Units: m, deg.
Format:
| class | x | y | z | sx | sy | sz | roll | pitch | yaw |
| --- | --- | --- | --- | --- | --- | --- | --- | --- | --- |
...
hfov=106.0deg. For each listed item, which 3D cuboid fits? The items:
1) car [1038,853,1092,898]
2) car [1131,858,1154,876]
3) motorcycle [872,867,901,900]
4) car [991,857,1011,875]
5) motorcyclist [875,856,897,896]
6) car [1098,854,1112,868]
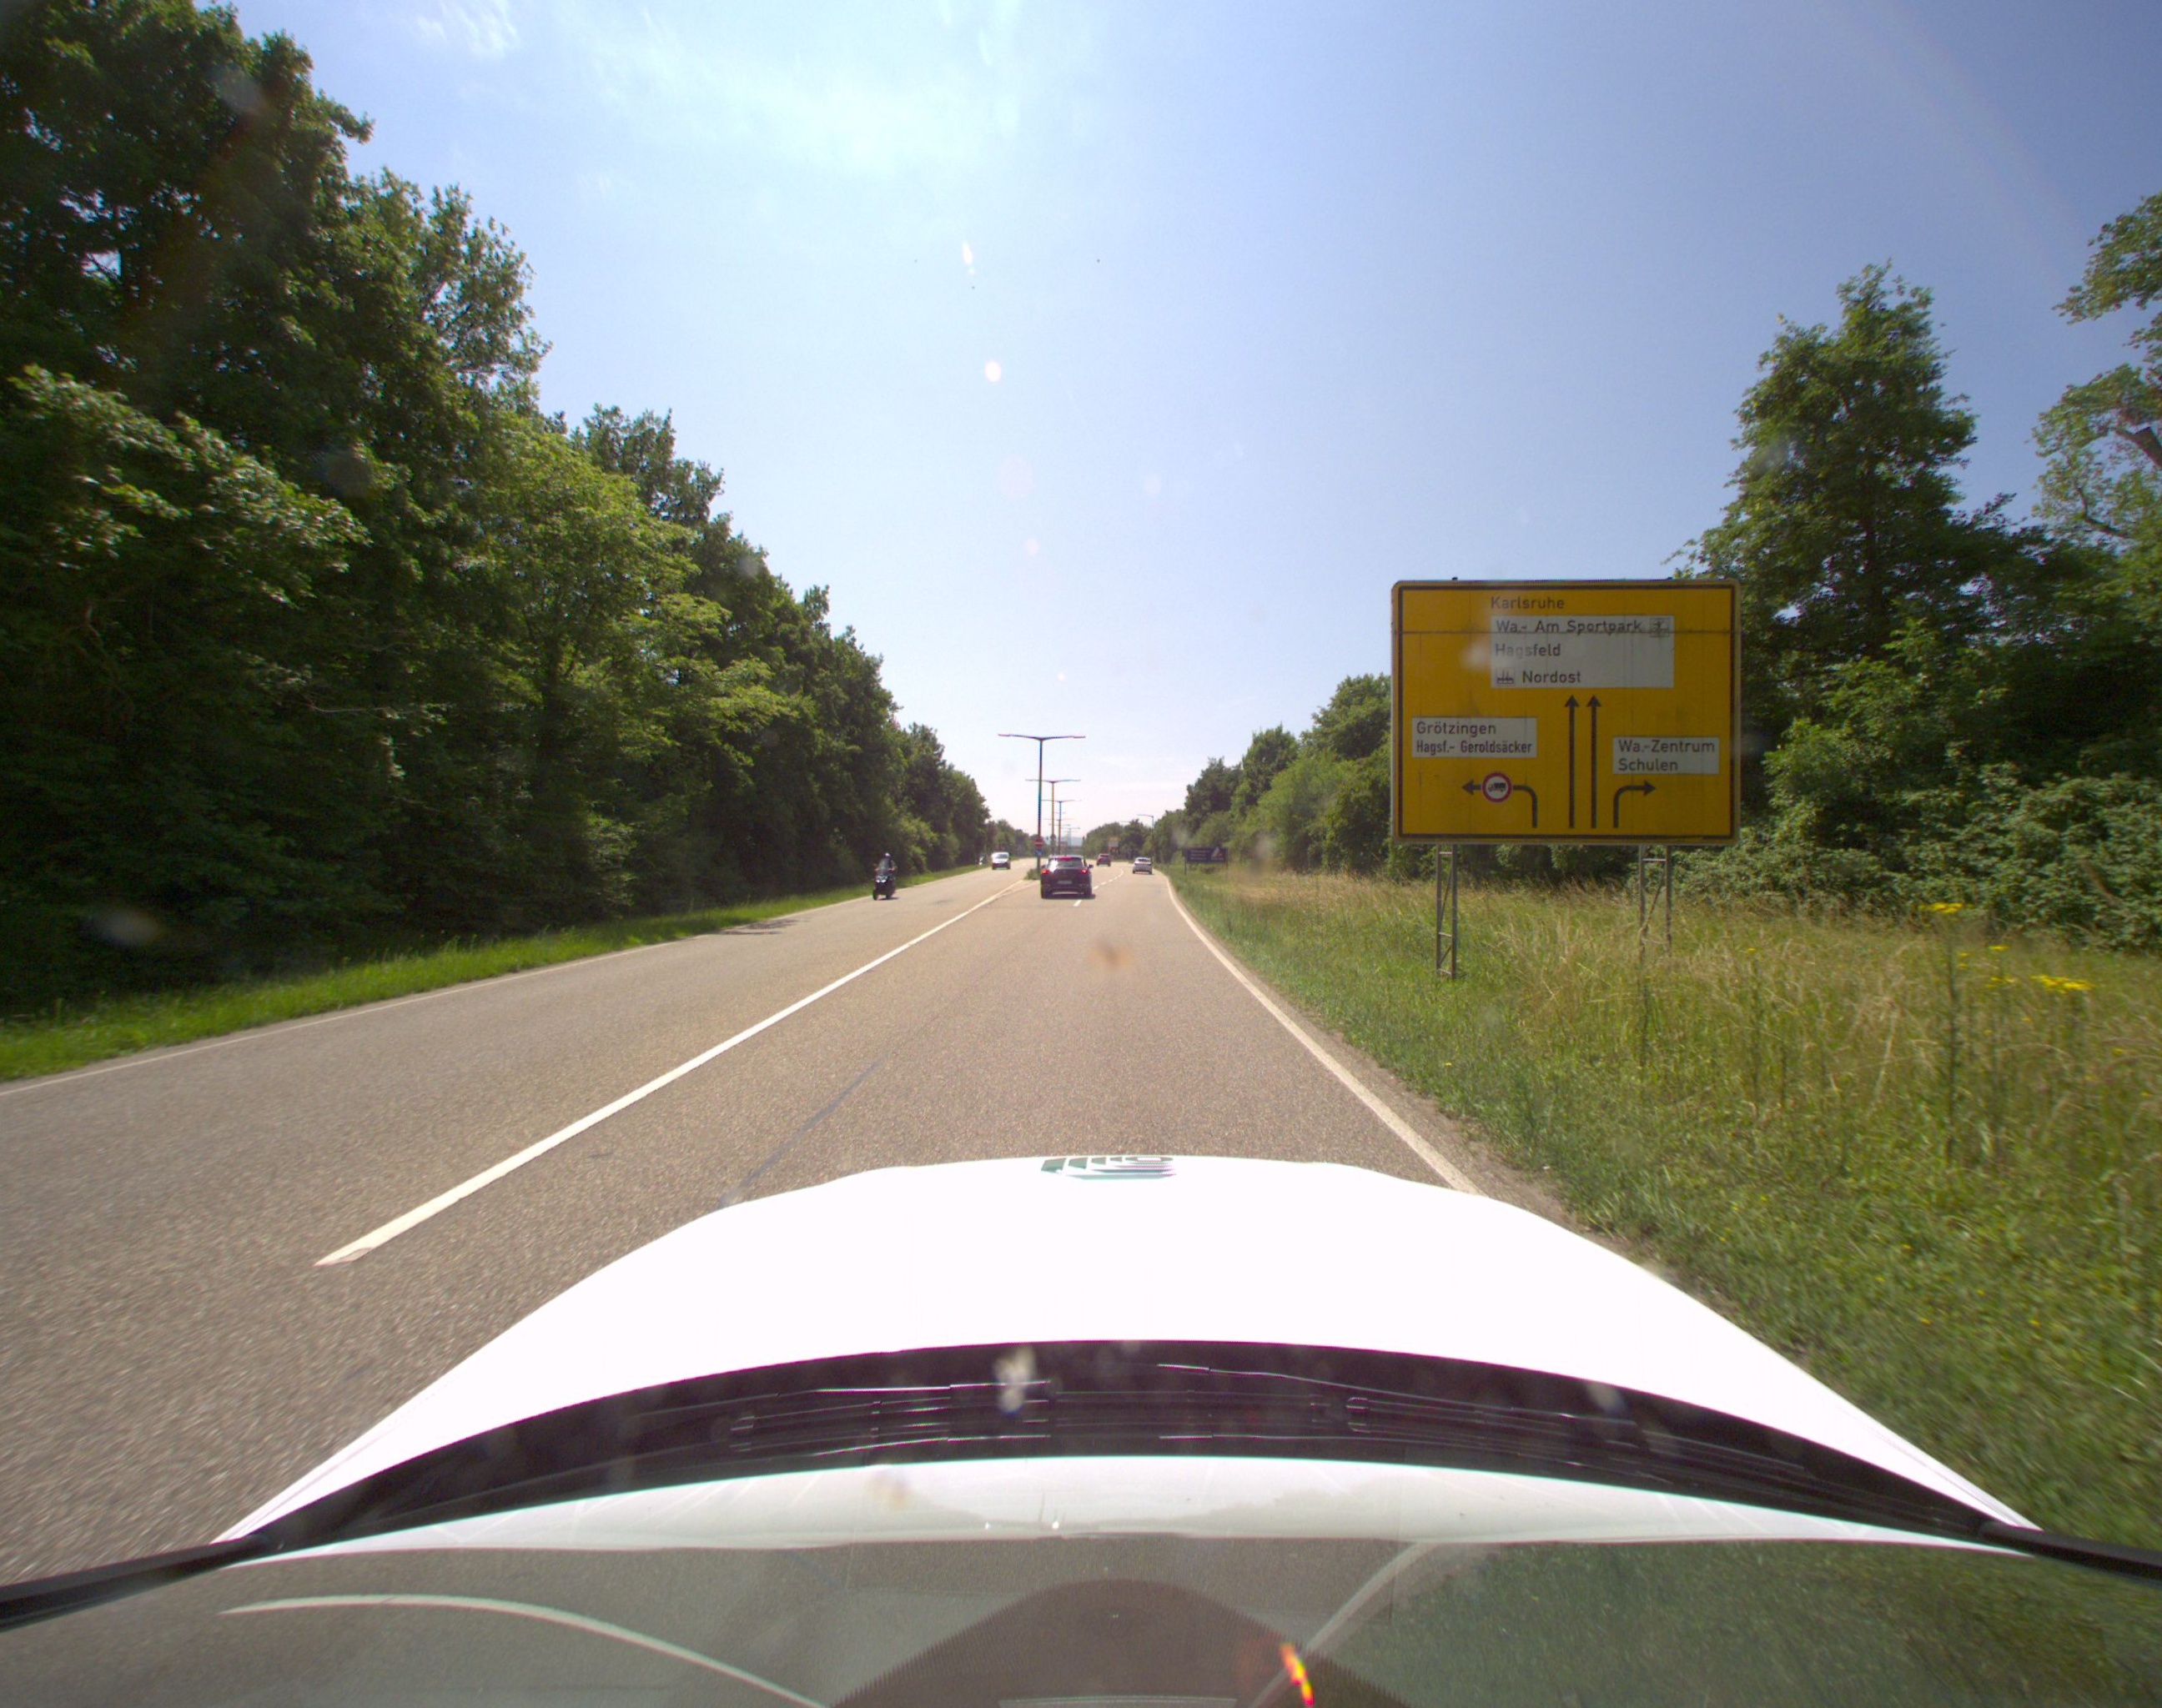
| class | x | y | z | sx | sy | sz | roll | pitch | yaw |
| --- | --- | --- | --- | --- | --- | --- | --- | --- | --- |
| car | -0.649 | 0.772 | 30.371 | 1.752 | 1.556 | 3.993 | 0 | 0 | -5 |
| car | 5.550 | 1.136 | 73.758 | 1.791 | 1.583 | 4.000 | -1 | 0 | 1 |
| motorcycle | -7.268 | 1.084 | 30.467 | 0.669 | 1.174 | 2.228 | 0 | 0 | -3 |
| car | -8.098 | 1.186 | 82.939 | 1.727 | 1.688 | 4.092 | -2 | 0 | -2 |
| motorcyclist | -7.268 | 0.807 | 30.350 | 0.668 | 1.475 | 0.813 | 0 | 0 | -4 |
| car | 3.432 | 1.012 | 116.328 | 1.750 | 1.929 | 3.998 | 1 | 0 | -1 |
